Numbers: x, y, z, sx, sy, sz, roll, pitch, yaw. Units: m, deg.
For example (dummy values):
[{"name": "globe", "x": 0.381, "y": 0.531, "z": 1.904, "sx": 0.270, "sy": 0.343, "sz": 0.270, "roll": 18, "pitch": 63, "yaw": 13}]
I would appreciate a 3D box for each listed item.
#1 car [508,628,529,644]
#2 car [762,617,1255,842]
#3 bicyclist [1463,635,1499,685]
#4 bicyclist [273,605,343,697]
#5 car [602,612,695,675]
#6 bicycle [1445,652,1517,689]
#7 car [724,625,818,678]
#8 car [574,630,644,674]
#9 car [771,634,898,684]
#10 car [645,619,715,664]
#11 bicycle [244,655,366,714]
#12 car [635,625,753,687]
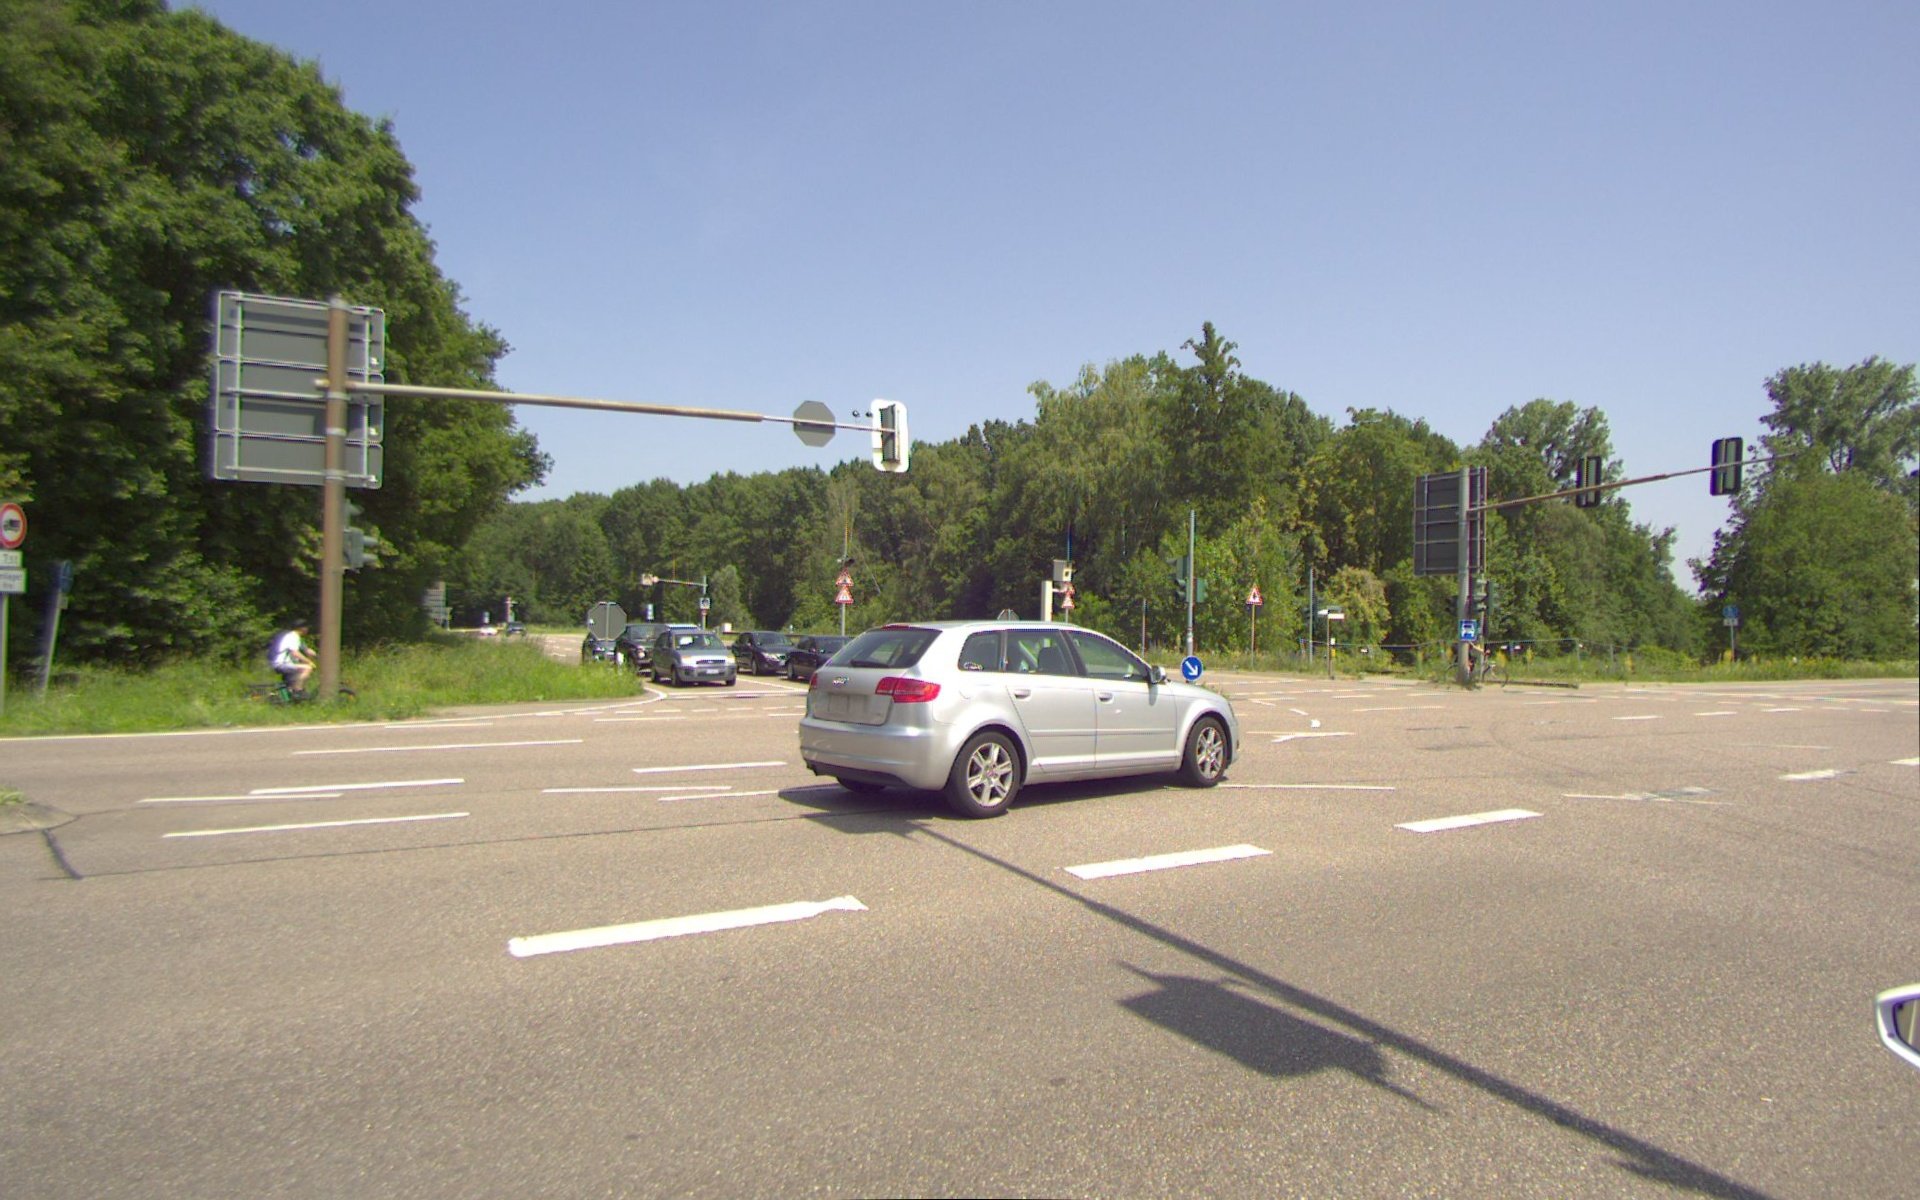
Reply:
[{"name": "car", "x": -49.060, "y": 3.966, "z": 111.468, "sx": 1.973, "sy": 1.657, "sz": 4.790, "roll": 1, "pitch": -2, "yaw": -26}, {"name": "car", "x": 0.547, "y": 0.890, "z": 8.437, "sx": 3.980, "sy": 1.410, "sz": 1.751, "roll": 2, "pitch": 0, "yaw": -39}, {"name": "bicyclist", "x": 15.898, "y": 1.811, "z": 30.646, "sx": 0.701, "sy": 1.479, "sz": 0.927, "roll": 0, "pitch": -2, "yaw": 8}, {"name": "bicyclist", "x": -10.855, "y": 0.842, "z": 16.749, "sx": 0.798, "sy": 1.484, "sz": 0.658, "roll": 1, "pitch": -2, "yaw": -20}, {"name": "car", "x": -10.444, "y": 1.414, "z": 33.473, "sx": 1.976, "sy": 1.923, "sz": 4.784, "roll": 2, "pitch": -2, "yaw": -29}, {"name": "bicycle", "x": 15.882, "y": 2.139, "z": 30.662, "sx": 1.831, "sy": 1.077, "sz": 0.725, "roll": 0, "pitch": -2, "yaw": 8}, {"name": "car", "x": -6.504, "y": 1.695, "z": 34.165, "sx": 1.974, "sy": 1.657, "sz": 4.790, "roll": 2, "pitch": -2, "yaw": -26}, {"name": "car", "x": -14.065, "y": 2.038, "z": 40.112, "sx": 1.851, "sy": 1.657, "sz": 4.377, "roll": 2, "pitch": -2, "yaw": -30}, {"name": "car", "x": -3.767, "y": 1.670, "z": 29.294, "sx": 2.080, "sy": 1.307, "sz": 4.785, "roll": 2, "pitch": -2, "yaw": -29}, {"name": "car", "x": -12.786, "y": 1.851, "z": 45.608, "sx": 2.041, "sy": 1.920, "sz": 4.786, "roll": 2, "pitch": -2, "yaw": -28}, {"name": "bicycle", "x": -10.875, "y": 1.387, "z": 16.732, "sx": 1.581, "sy": 0.935, "sz": 0.564, "roll": 1, "pitch": -2, "yaw": -21}, {"name": "car", "x": -7.615, "y": 1.529, "z": 28.394, "sx": 2.104, "sy": 1.588, "sz": 4.784, "roll": 2, "pitch": -2, "yaw": -29}]
